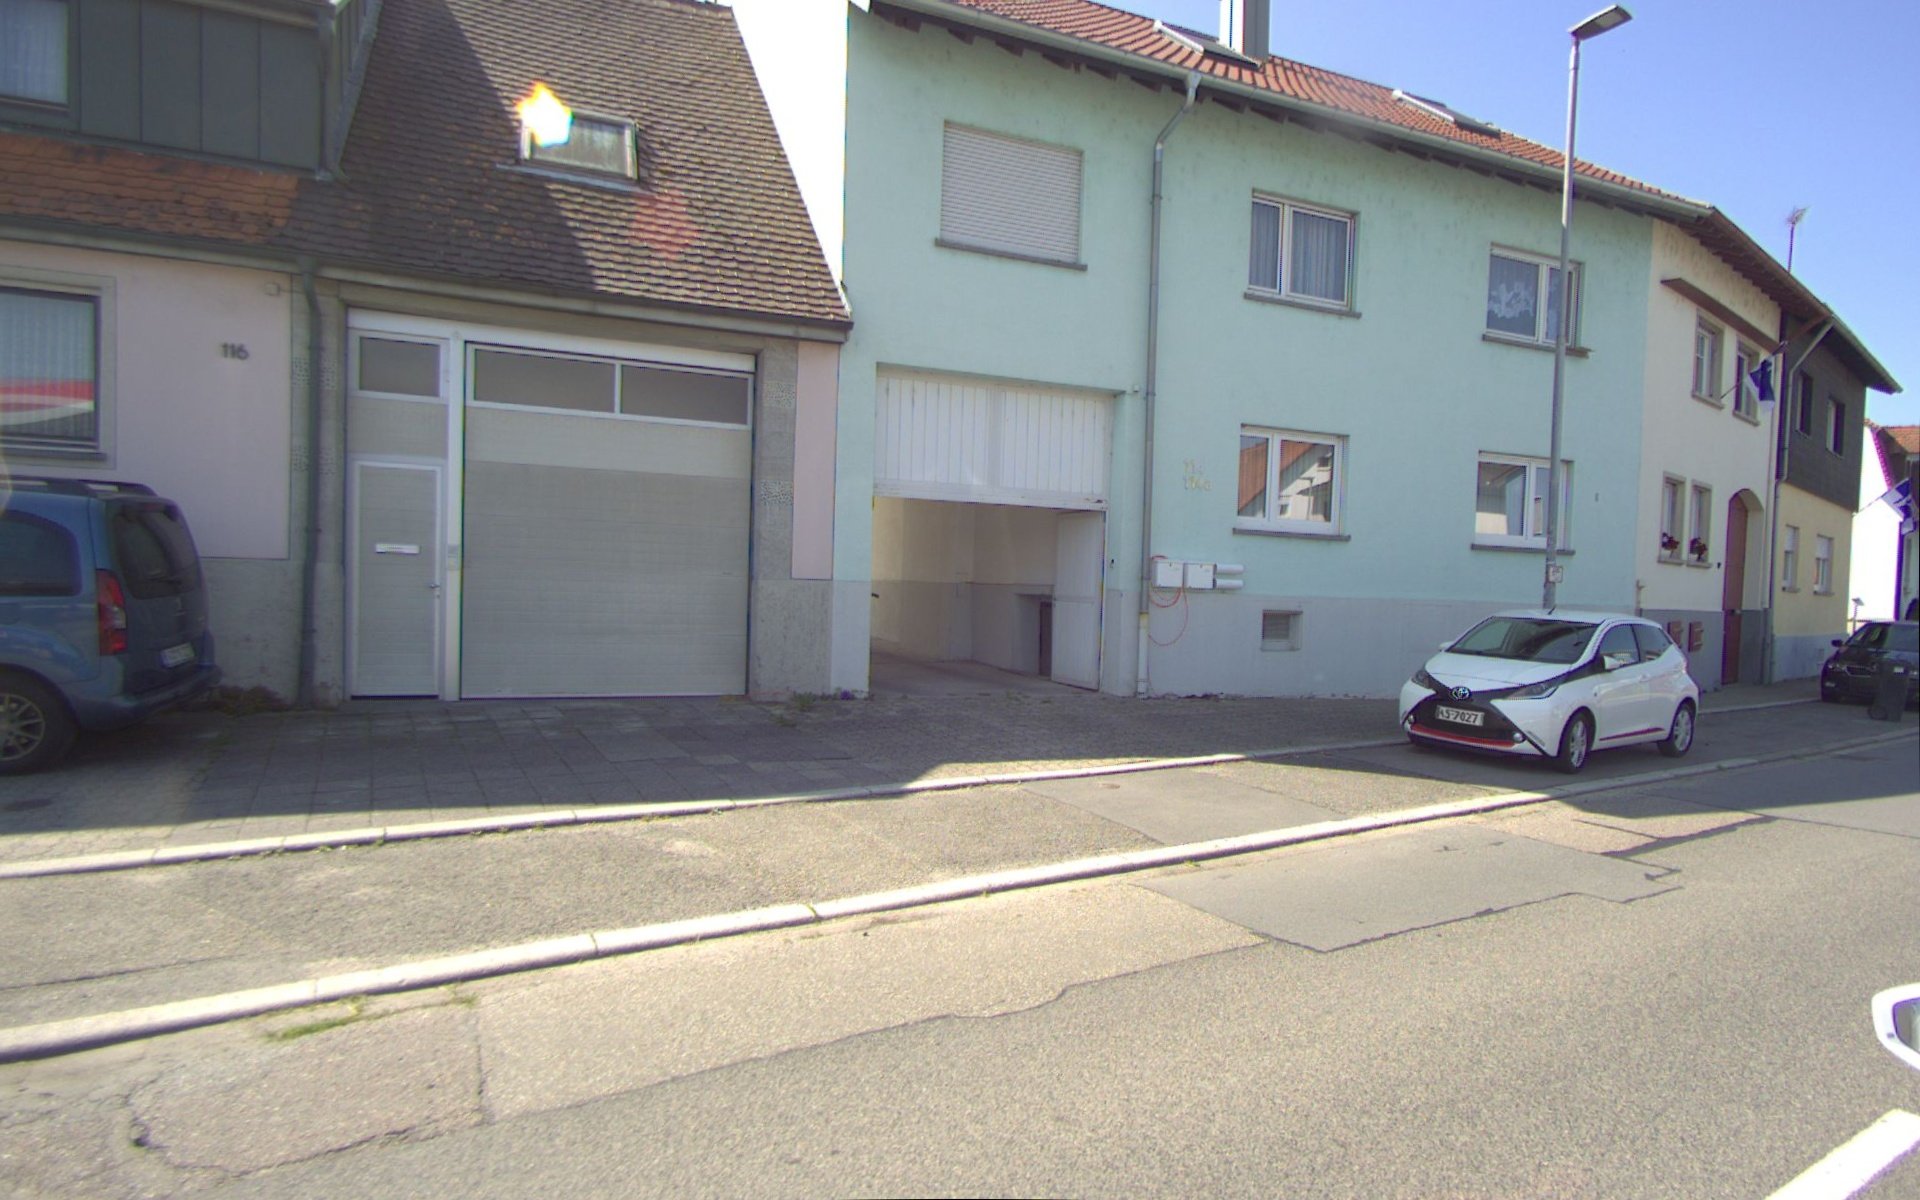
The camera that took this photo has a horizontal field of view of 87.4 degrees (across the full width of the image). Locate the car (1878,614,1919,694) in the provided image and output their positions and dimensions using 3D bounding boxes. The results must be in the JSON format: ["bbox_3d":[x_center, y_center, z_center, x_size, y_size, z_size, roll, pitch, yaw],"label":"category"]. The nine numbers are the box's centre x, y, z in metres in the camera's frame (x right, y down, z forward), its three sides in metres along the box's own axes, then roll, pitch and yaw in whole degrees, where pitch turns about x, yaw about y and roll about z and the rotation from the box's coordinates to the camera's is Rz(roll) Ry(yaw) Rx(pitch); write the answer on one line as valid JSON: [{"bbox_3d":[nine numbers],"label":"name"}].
[{"bbox_3d":[20.584,1.146,20.730,3.746,1.521,1.628,2,4,-37],"label":"car"}]

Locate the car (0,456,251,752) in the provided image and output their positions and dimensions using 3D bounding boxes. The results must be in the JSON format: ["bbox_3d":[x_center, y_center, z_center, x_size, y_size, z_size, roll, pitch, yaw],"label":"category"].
[{"bbox_3d":[-7.455,-0.065,6.537,4.276,1.817,1.834,2,3,-20],"label":"car"}]

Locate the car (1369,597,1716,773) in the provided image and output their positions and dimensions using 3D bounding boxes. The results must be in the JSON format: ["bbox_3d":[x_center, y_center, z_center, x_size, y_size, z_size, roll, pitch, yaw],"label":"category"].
[{"bbox_3d":[6.109,0.785,10.442,3.611,1.481,1.673,2,1,-34],"label":"car"}]

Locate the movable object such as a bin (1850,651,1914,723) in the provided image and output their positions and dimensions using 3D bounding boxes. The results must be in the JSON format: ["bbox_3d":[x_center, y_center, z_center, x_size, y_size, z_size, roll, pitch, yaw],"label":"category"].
[{"bbox_3d":[13.701,1.281,14.927,0.819,0.941,0.546,0,6,-42],"label":"movable object such as a bin"}]

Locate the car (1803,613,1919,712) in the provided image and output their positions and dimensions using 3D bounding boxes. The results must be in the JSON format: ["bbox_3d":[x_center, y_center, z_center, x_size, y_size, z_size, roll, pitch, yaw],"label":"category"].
[{"bbox_3d":[16.536,1.053,17.665,3.958,1.456,1.666,2,4,-37],"label":"car"}]
